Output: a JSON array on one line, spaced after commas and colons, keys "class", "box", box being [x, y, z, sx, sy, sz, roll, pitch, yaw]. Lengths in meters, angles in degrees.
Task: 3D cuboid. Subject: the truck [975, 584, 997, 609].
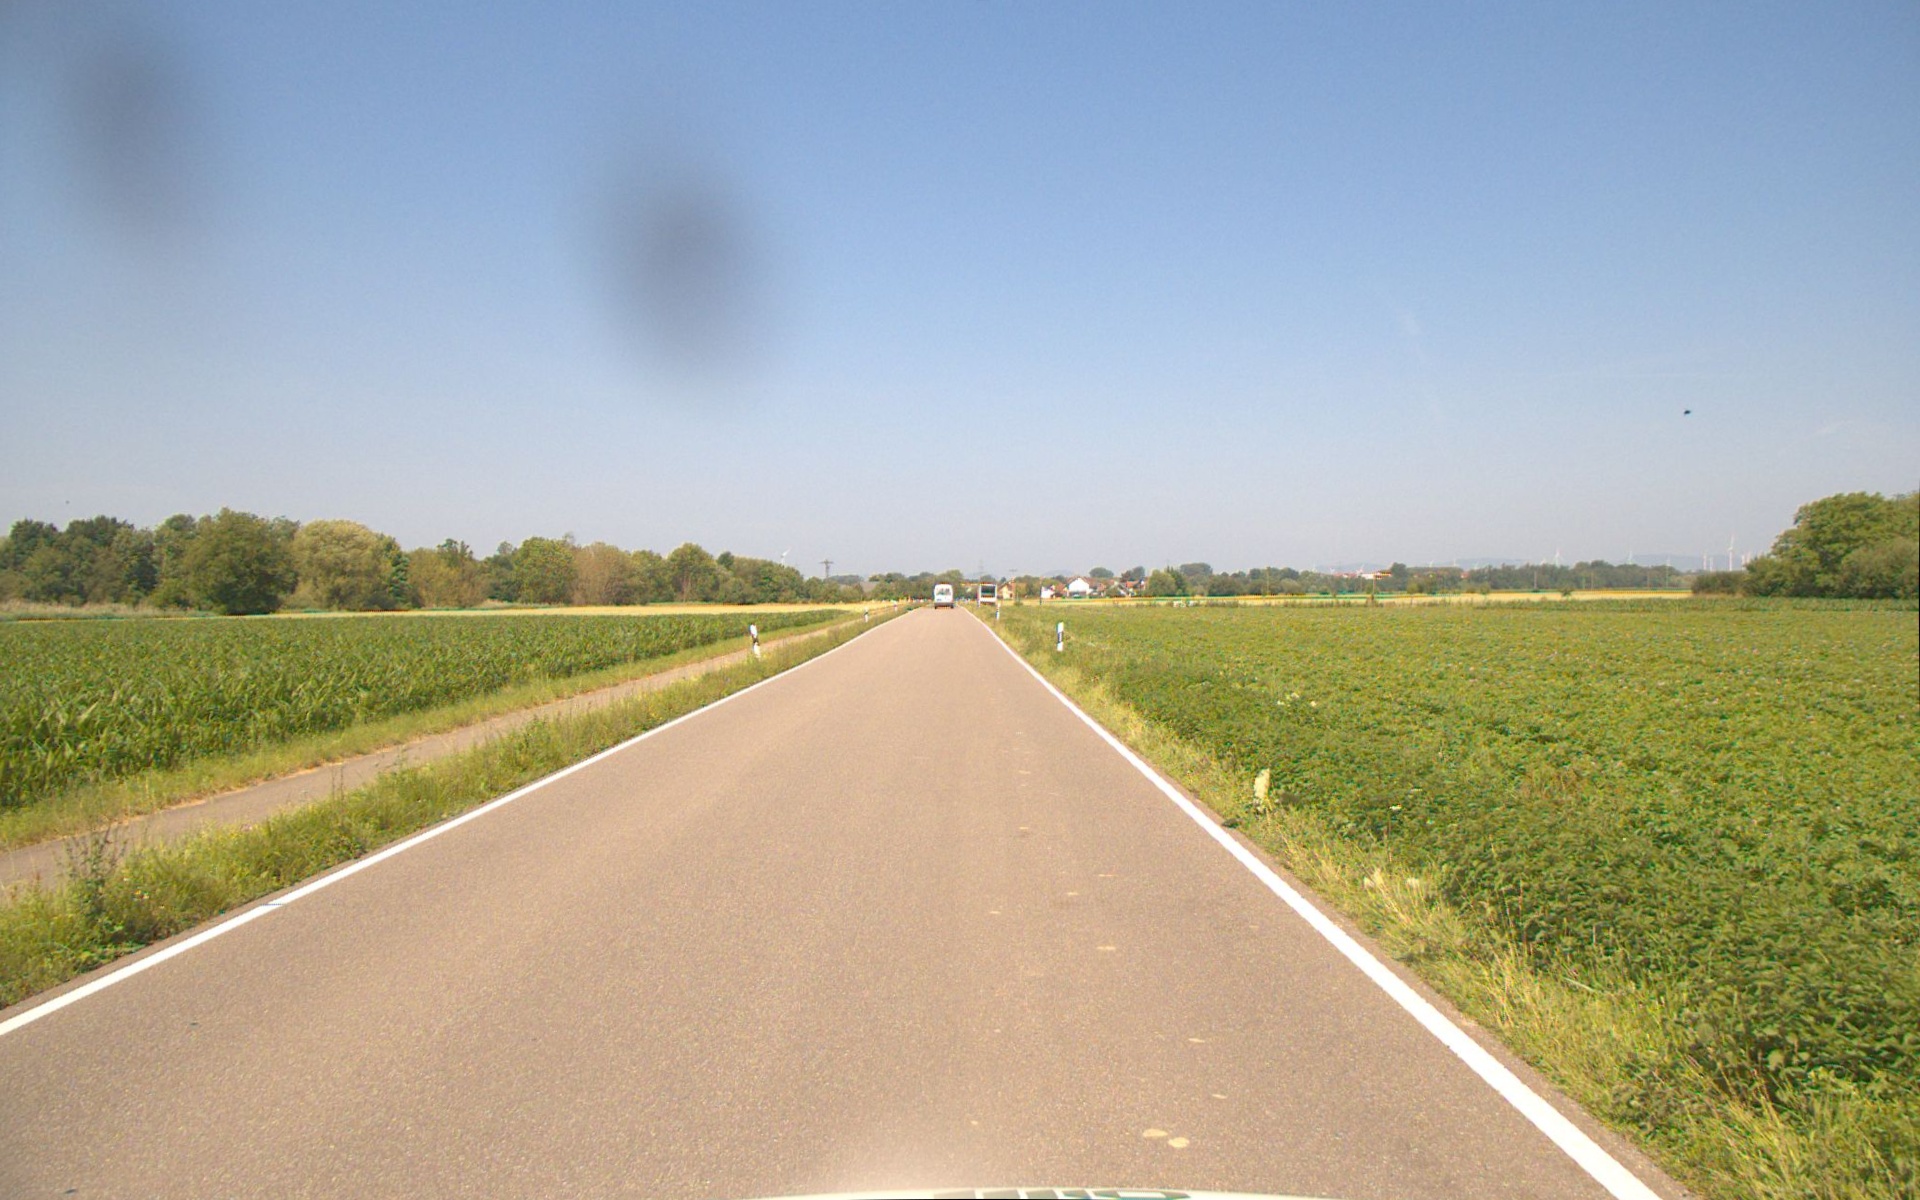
[{"class": "truck", "box": [3.259, -0.419, 209.097, 2.289, 2.994, 7.005, 2, 0, -2]}]

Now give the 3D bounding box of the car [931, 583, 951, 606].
[{"class": "car", "box": [-2.029, -0.573, 174.622, 2.064, 2.344, 5.494, 1, 0, -1]}]
